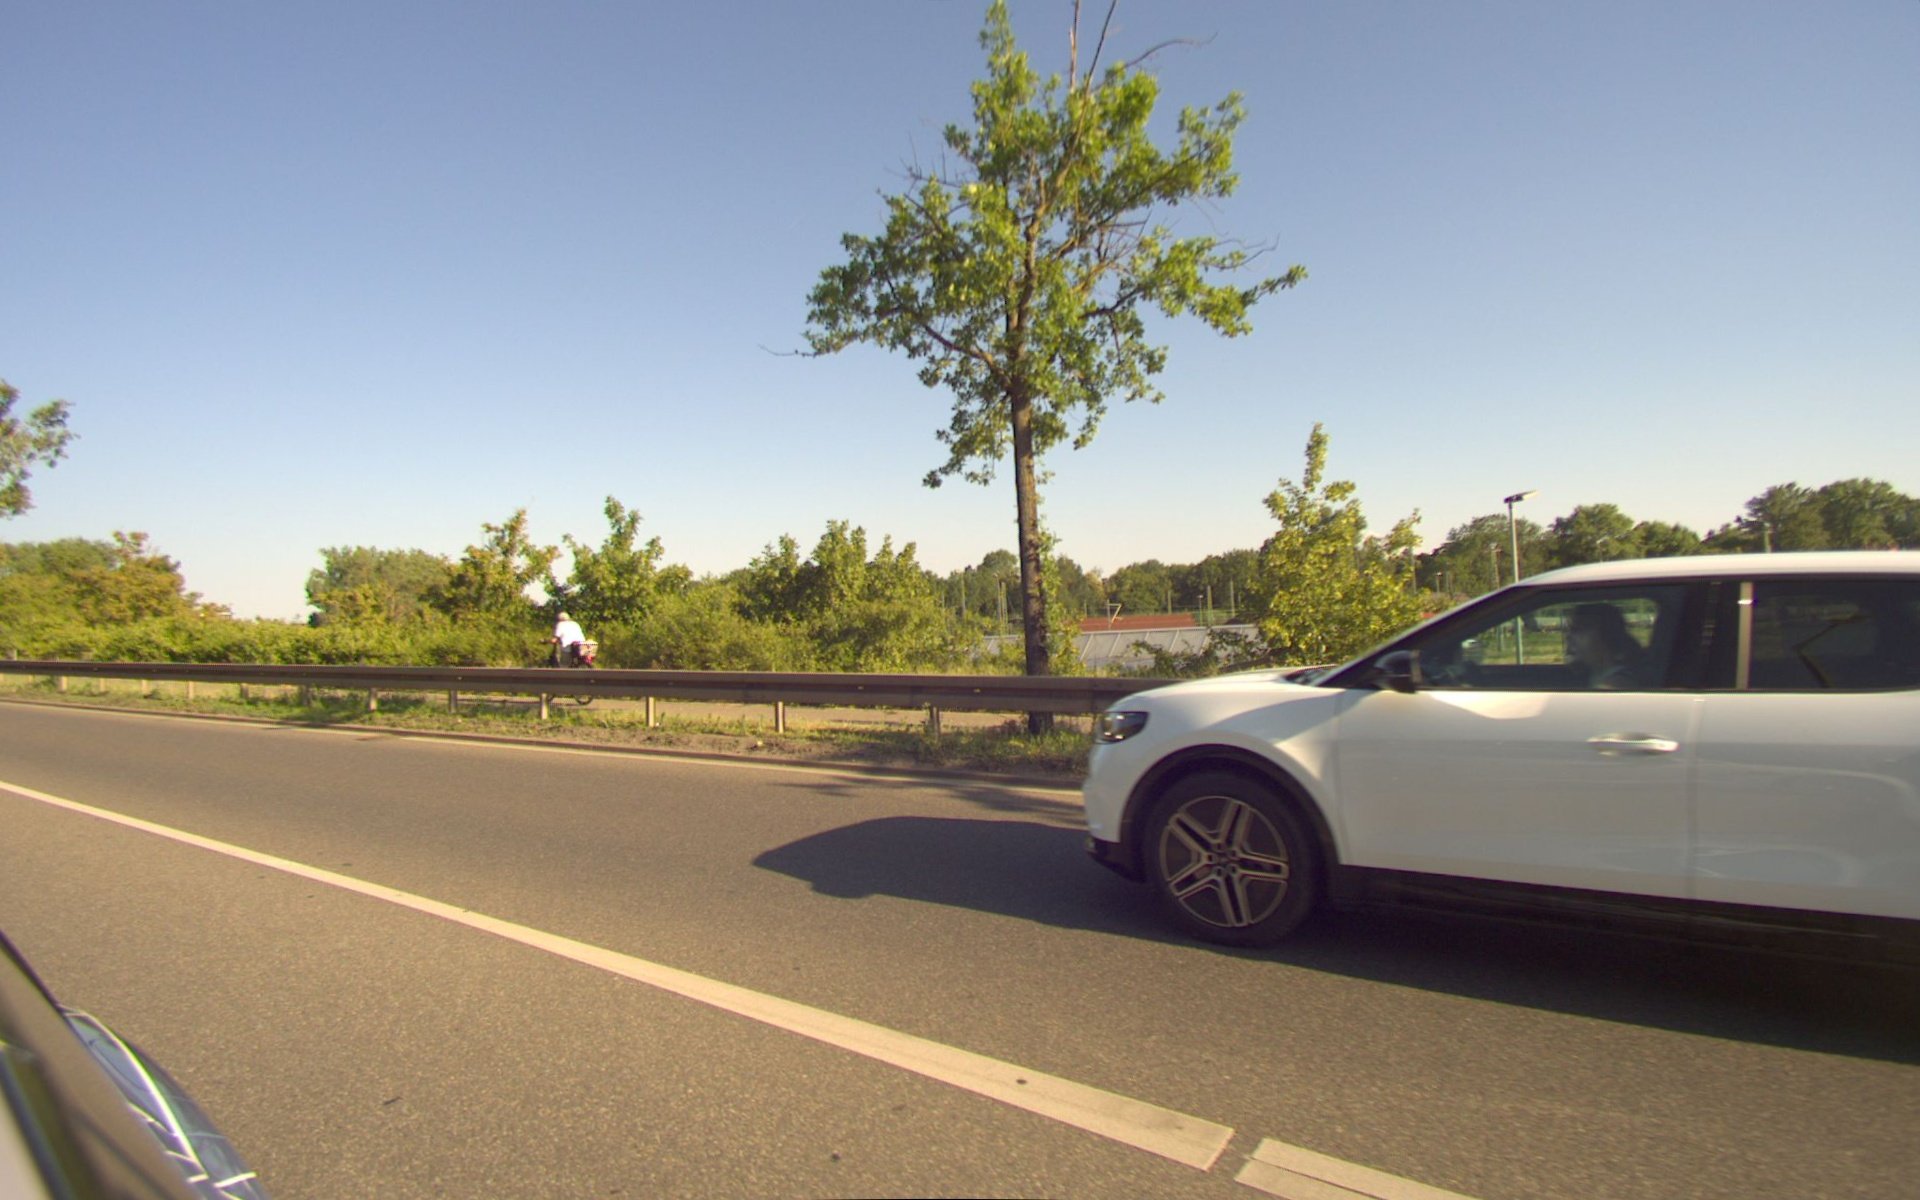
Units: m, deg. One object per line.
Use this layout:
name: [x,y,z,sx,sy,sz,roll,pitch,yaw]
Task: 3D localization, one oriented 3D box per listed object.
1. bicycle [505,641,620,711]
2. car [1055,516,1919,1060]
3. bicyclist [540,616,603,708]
bicycle: [-6.616,1.222,16.782,2.307,1.085,0.577,-1,-3,34]
car: [2.864,0.565,4.037,4.634,1.601,1.813,-1,-1,33]
bicyclist: [-6.389,1.003,16.649,0.826,1.470,0.594,-1,-3,34]
